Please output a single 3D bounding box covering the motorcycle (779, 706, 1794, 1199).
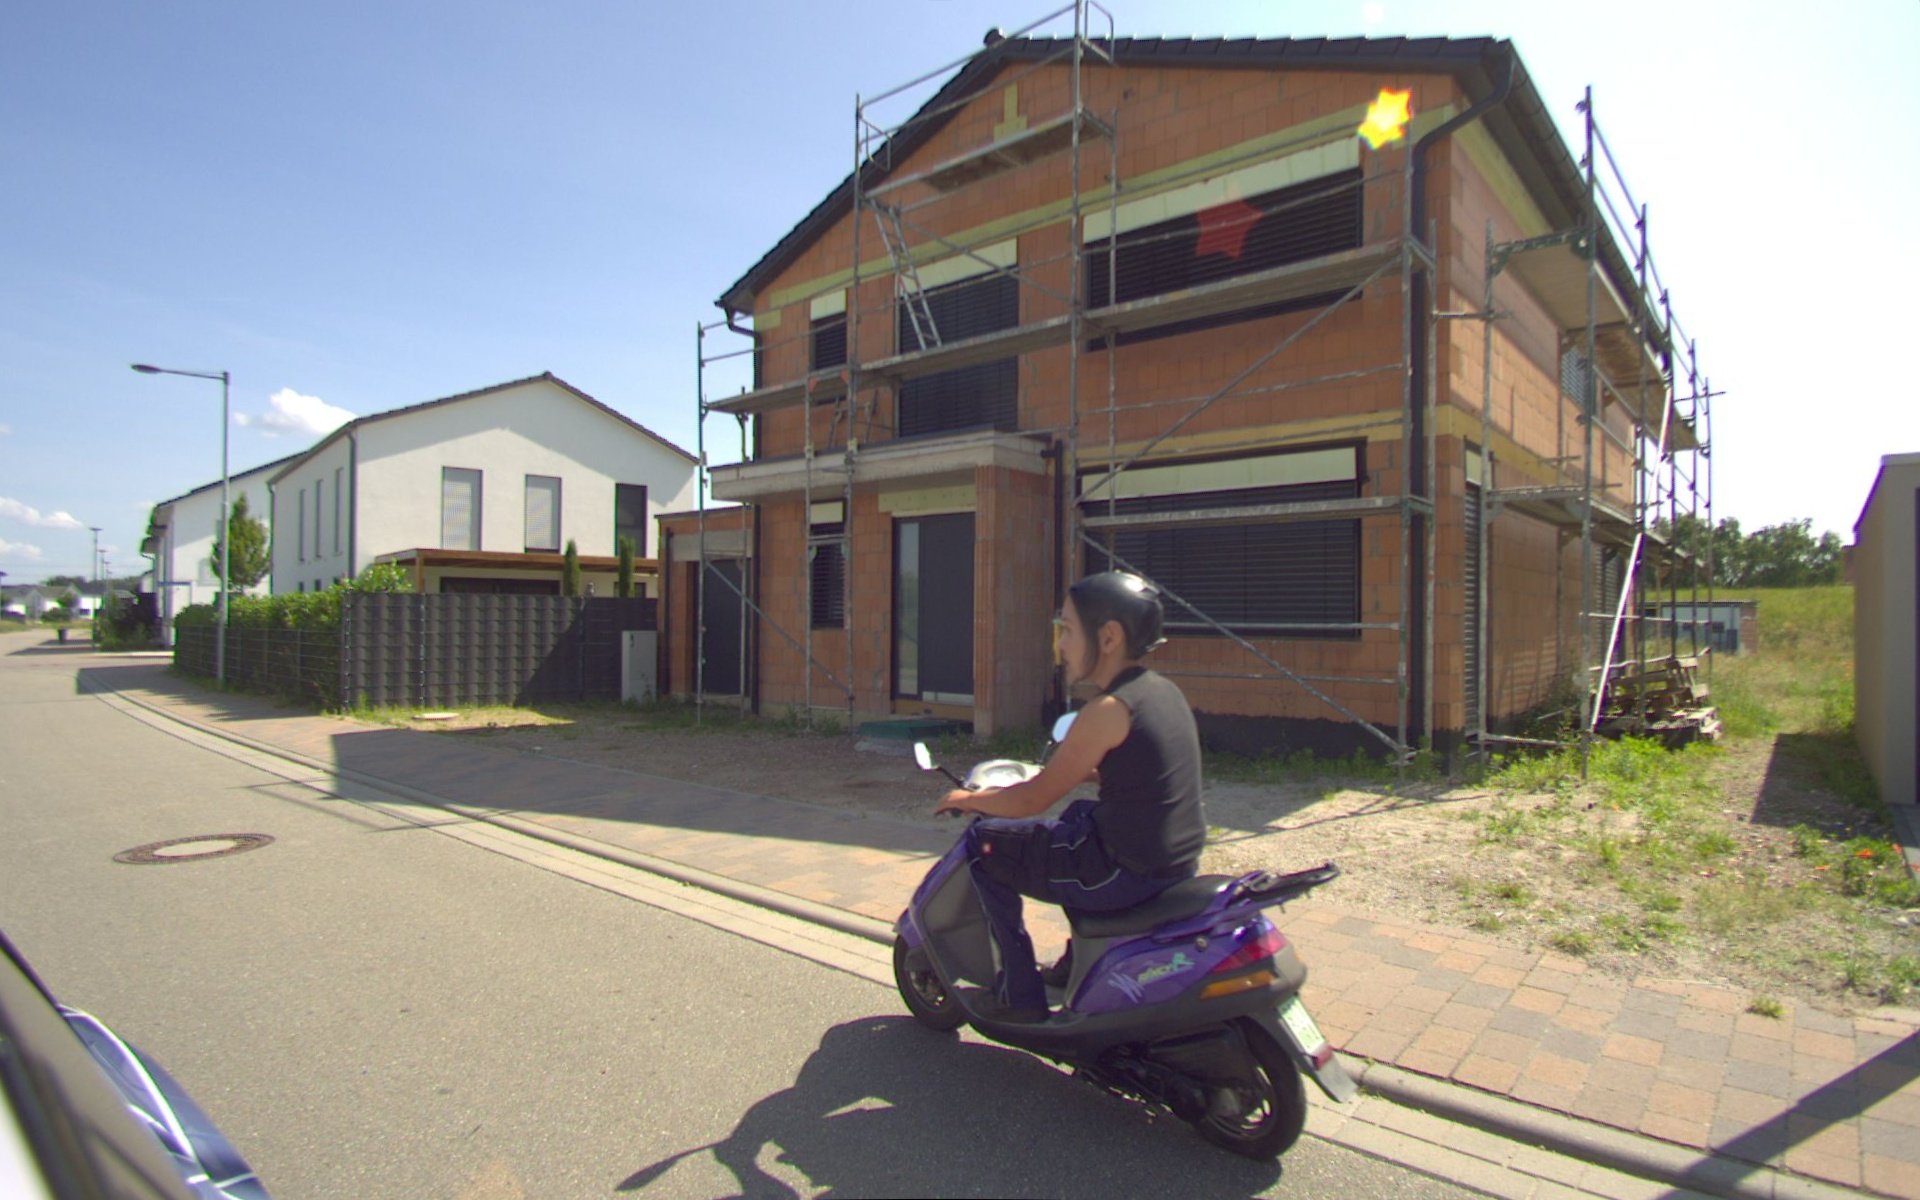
[{"bbox_3d":[0.638,0.893,2.735,2.436,1.043,0.945,-2,-2,43],"label":"motorcycle"}]

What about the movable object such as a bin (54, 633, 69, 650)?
[{"bbox_3d":[-49.987,2.300,56.295,0.588,0.928,0.462,1,-2,-39],"label":"movable object such as a bin"}]

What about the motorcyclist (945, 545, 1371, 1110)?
[{"bbox_3d":[0.564,0.517,2.837,0.803,1.232,0.914,-3,-3,42],"label":"motorcyclist"}]
